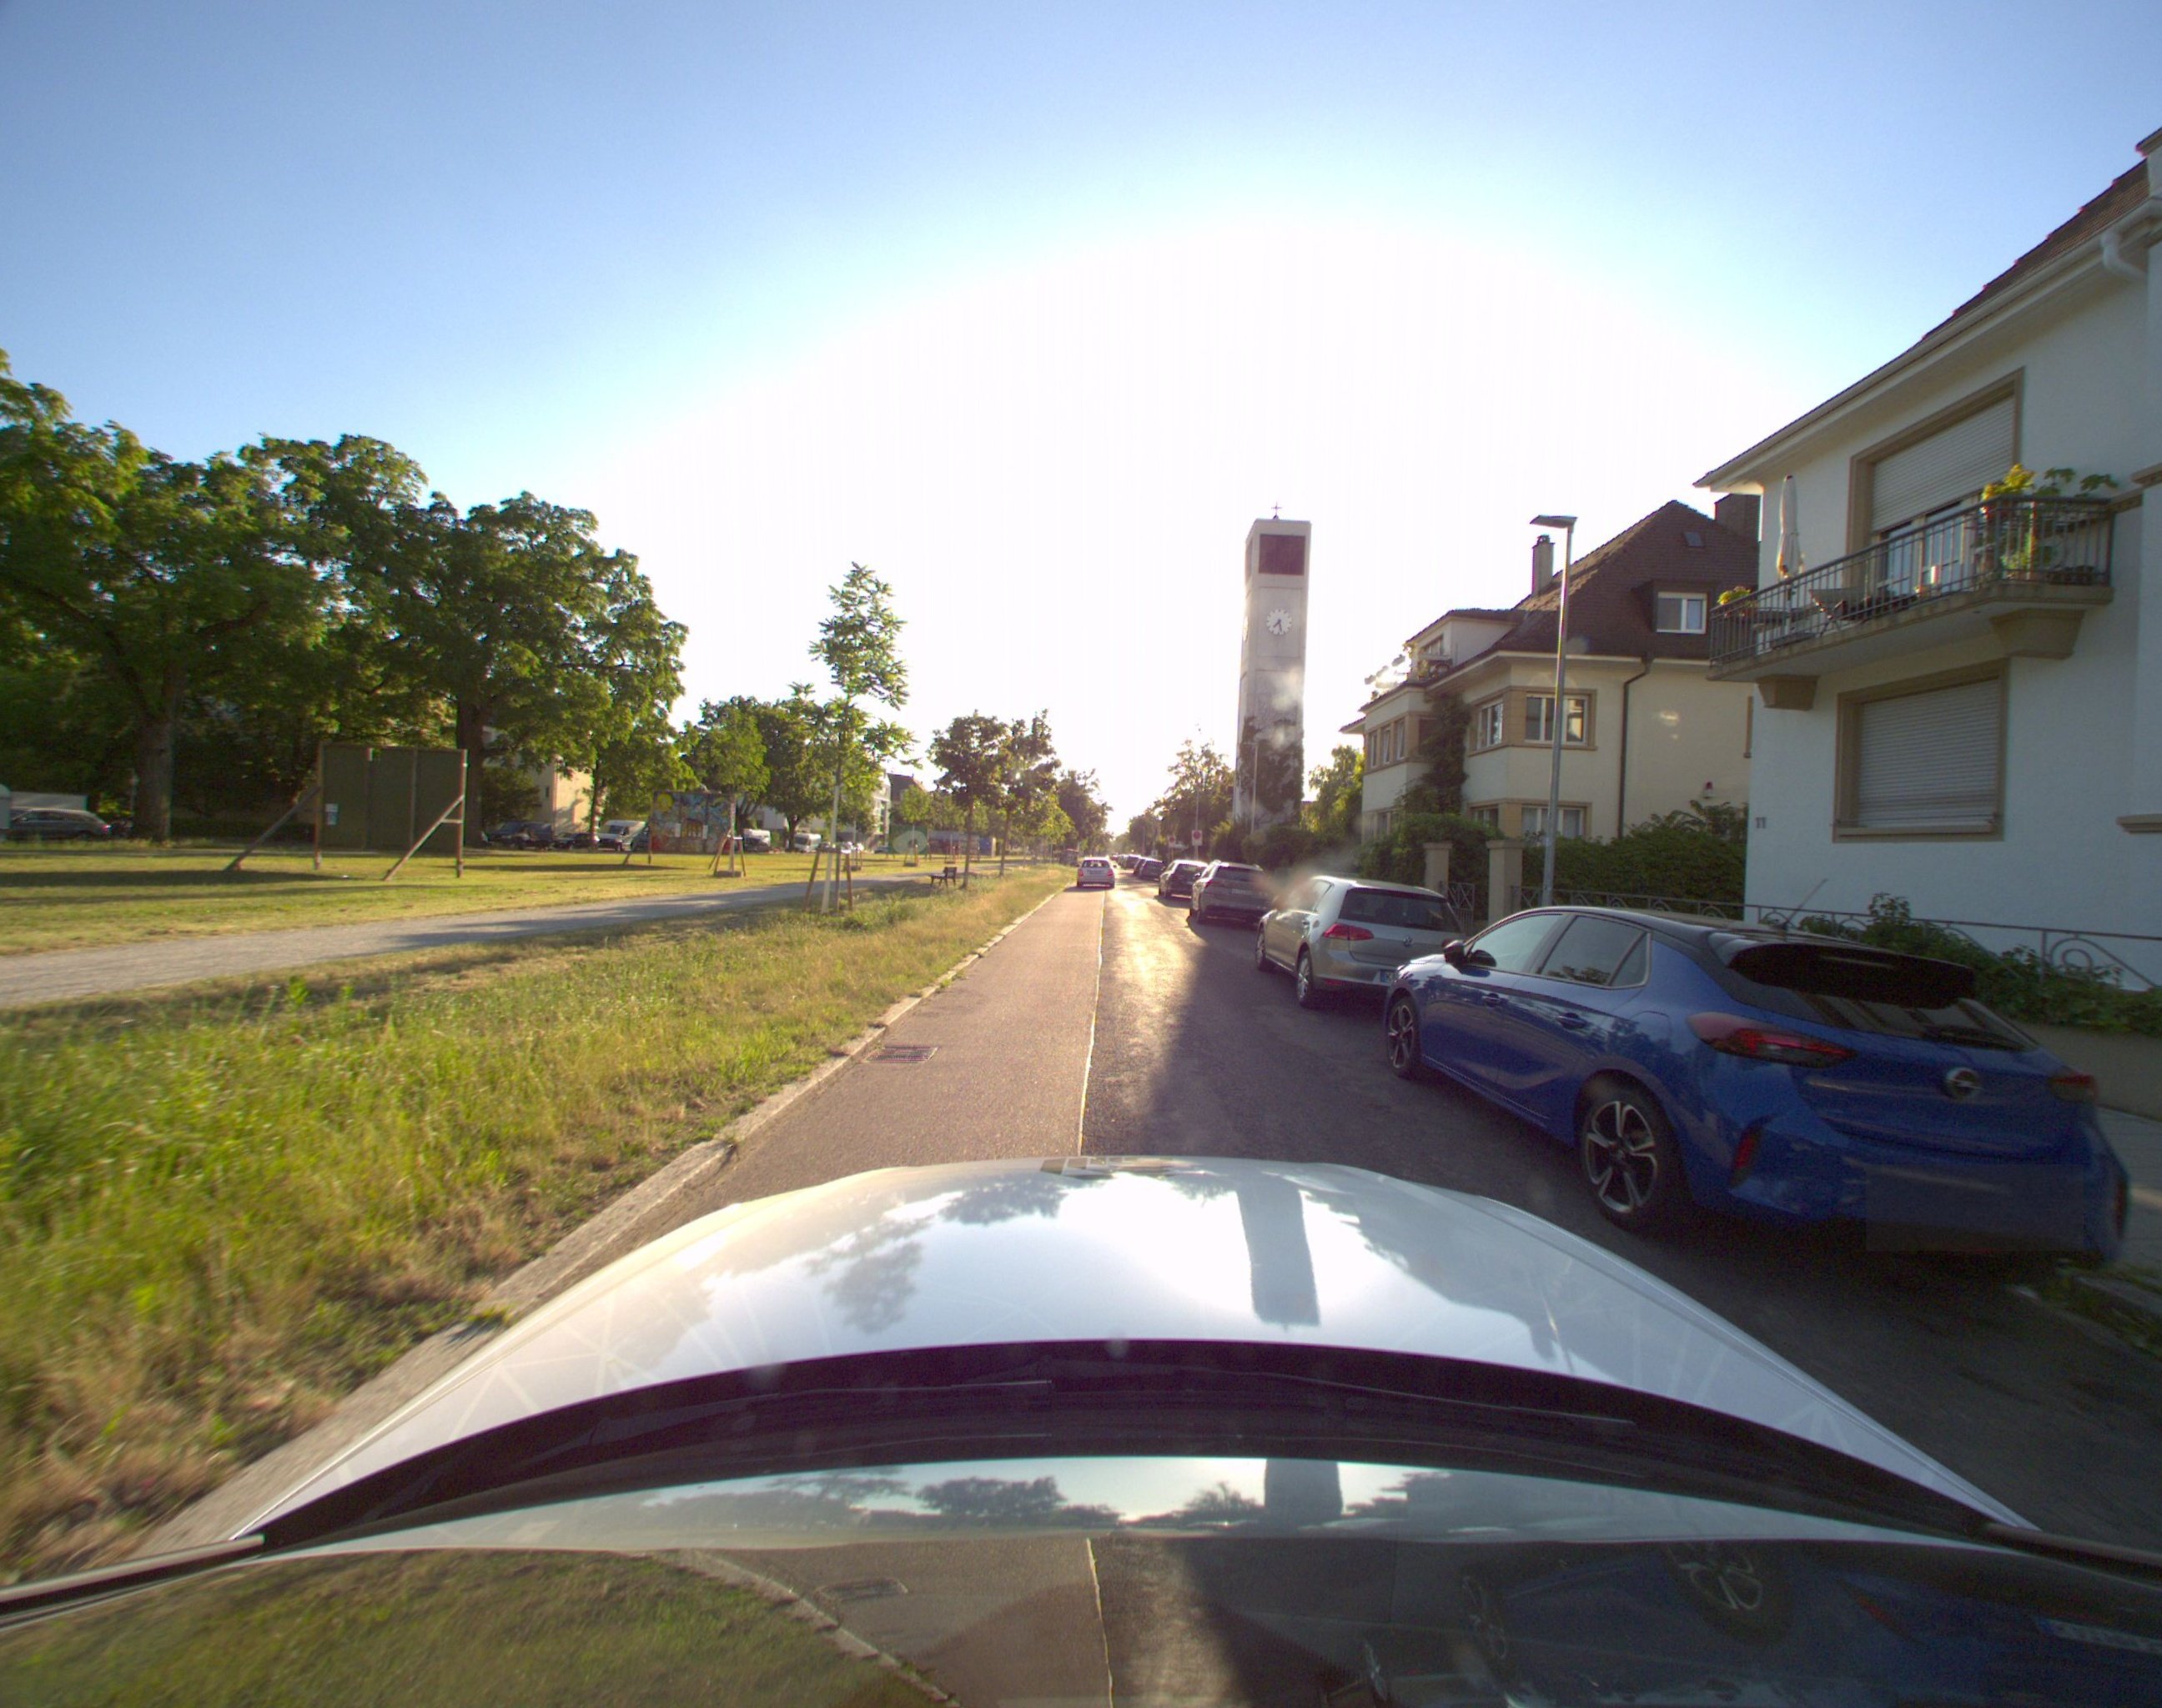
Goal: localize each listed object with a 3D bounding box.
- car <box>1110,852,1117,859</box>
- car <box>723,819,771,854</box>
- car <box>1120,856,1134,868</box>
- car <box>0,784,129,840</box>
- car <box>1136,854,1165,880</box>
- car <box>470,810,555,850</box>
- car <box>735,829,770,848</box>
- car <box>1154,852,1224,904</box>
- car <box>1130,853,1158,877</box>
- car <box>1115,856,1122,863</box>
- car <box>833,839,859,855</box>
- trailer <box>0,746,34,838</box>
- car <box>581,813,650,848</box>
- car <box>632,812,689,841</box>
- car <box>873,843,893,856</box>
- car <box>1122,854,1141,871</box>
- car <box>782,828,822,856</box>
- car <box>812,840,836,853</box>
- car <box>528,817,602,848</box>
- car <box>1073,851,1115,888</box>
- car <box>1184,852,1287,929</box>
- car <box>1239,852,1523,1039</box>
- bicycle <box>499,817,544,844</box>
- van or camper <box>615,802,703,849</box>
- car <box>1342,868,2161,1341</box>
[{"bbox_3d":[9.981,0.497,248.890,1.981,2.023,4.002,3,0,2],"label":"car"},{"bbox_3d":[-36.758,-1.889,89.766,2.294,3.559,6.767,0,-1,2],"label":"car"},{"bbox_3d":[6.774,1.157,120.142,1.985,1.462,4.565,5,0,3],"label":"car"},{"bbox_3d":[-38.797,-1.550,29.903,1.882,1.912,4.717,3,0,2],"label":"car"},{"bbox_3d":[4.829,0.861,57.115,1.681,1.527,4.177,7,1,2],"label":"car"},{"bbox_3d":[-38.056,-1.580,54.747,1.929,2.419,5.119,0,-1,2],"label":"car"},{"bbox_3d":[-31.164,-1.445,77.358,1.409,1.564,4.310,3,0,1],"label":"car"},{"bbox_3d":[4.081,0.895,31.561,1.987,1.597,4.886,7,-1,1],"label":"car"},{"bbox_3d":[4.920,0.853,63.992,1.816,1.561,4.624,9,0,2],"label":"car"},{"bbox_3d":[8.787,1.356,190.650,1.715,1.597,4.002,3,-1,2],"label":"car"},{"bbox_3d":[-30.696,-0.871,106.313,1.826,1.899,4.645,0,-1,3],"label":"car"},{"bbox_3d":[-32.997,-1.885,21.317,2.464,2.659,6.637,0,-1,1],"label":"trailer"},{"bbox_3d":[-38.106,-1.887,66.871,1.986,2.598,6.092,0,-1,2],"label":"car"},{"bbox_3d":[-31.813,-2.063,61.787,1.986,2.013,4.003,3,0,2],"label":"car"},{"bbox_3d":[-30.212,-0.693,124.341,1.882,1.917,4.328,0,-1,2],"label":"car"},{"bbox_3d":[5.700,1.009,92.435,1.826,1.732,5.033,5,-1,1],"label":"car"},{"bbox_3d":[-30.967,-1.302,90.538,2.252,2.826,5.873,0,-1,2],"label":"car"},{"bbox_3d":[-36.222,-1.069,114.793,1.775,1.703,4.668,0,-1,2],"label":"car"},{"bbox_3d":[-38.044,-1.524,60.182,1.962,2.004,5.053,3,0,2],"label":"car"},{"bbox_3d":[0.664,0.686,38.552,1.816,1.566,4.002,2,0,2],"label":"car"},{"bbox_3d":[3.788,0.871,20.690,1.876,1.536,4.465,6,-1,3],"label":"car"},{"bbox_3d":[3.406,0.901,10.336,1.904,1.559,4.569,7,1,2],"label":"car"},{"bbox_3d":[-29.445,-1.212,42.908,0.508,1.342,2.333,3,0,5],"label":"bicycle"},{"bbox_3d":[-31.813,-2.063,61.787,2.631,3.262,6.909,3,0,2],"label":"van or camper"},{"bbox_3d":[3.272,0.938,5.049,1.757,1.435,4.303,9,-1,0],"label":"car"}]
